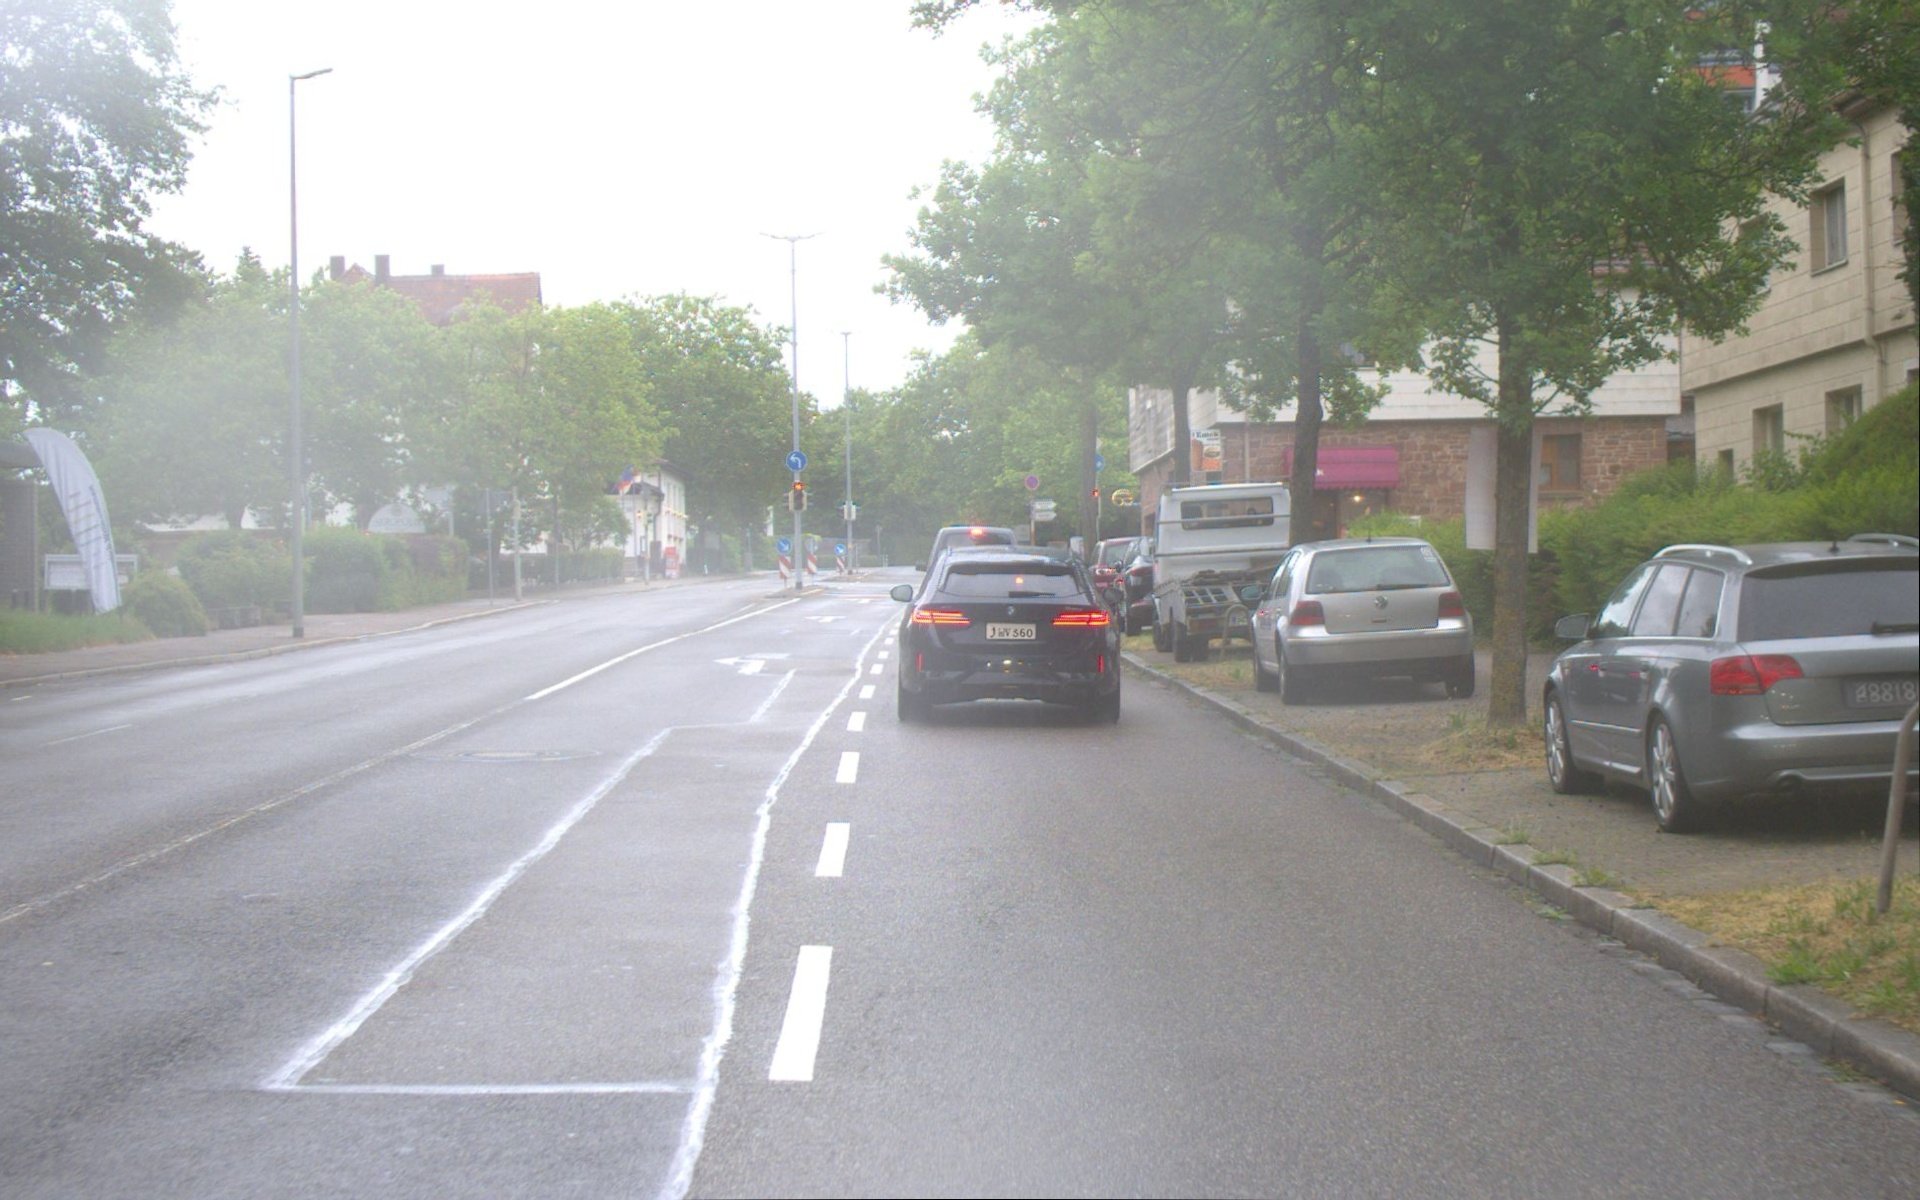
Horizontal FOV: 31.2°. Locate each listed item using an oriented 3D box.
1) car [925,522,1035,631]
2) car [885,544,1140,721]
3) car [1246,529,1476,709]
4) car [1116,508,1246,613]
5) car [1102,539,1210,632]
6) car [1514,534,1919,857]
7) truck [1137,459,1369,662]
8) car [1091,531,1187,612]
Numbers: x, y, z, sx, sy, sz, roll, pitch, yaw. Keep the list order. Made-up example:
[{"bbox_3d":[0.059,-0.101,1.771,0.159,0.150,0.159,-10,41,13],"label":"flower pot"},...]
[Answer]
[{"bbox_3d":[0.318,-0.427,59.055,1.784,1.811,4.000,0,1,-1],"label":"car"},{"bbox_3d":[0.381,0.236,30.627,2.064,1.441,4.483,1,1,-2],"label":"car"},{"bbox_3d":[3.642,0.125,31.800,1.601,1.431,4.022,-3,2,0],"label":"car"},{"bbox_3d":[3.443,-0.642,54.132,1.714,1.493,4.183,-3,1,0],"label":"car"},{"bbox_3d":[3.396,-0.273,60.193,1.604,1.467,3.856,-3,1,0],"label":"car"},{"bbox_3d":[4.205,0.400,18.159,1.688,1.385,4.500,-3,2,-1],"label":"car"},{"bbox_3d":[3.534,-0.515,42.746,2.080,2.214,6.502,-3,1,-1],"label":"truck"},{"bbox_3d":[3.598,-0.601,69.487,1.584,1.485,3.628,-3,2,-1],"label":"car"}]
